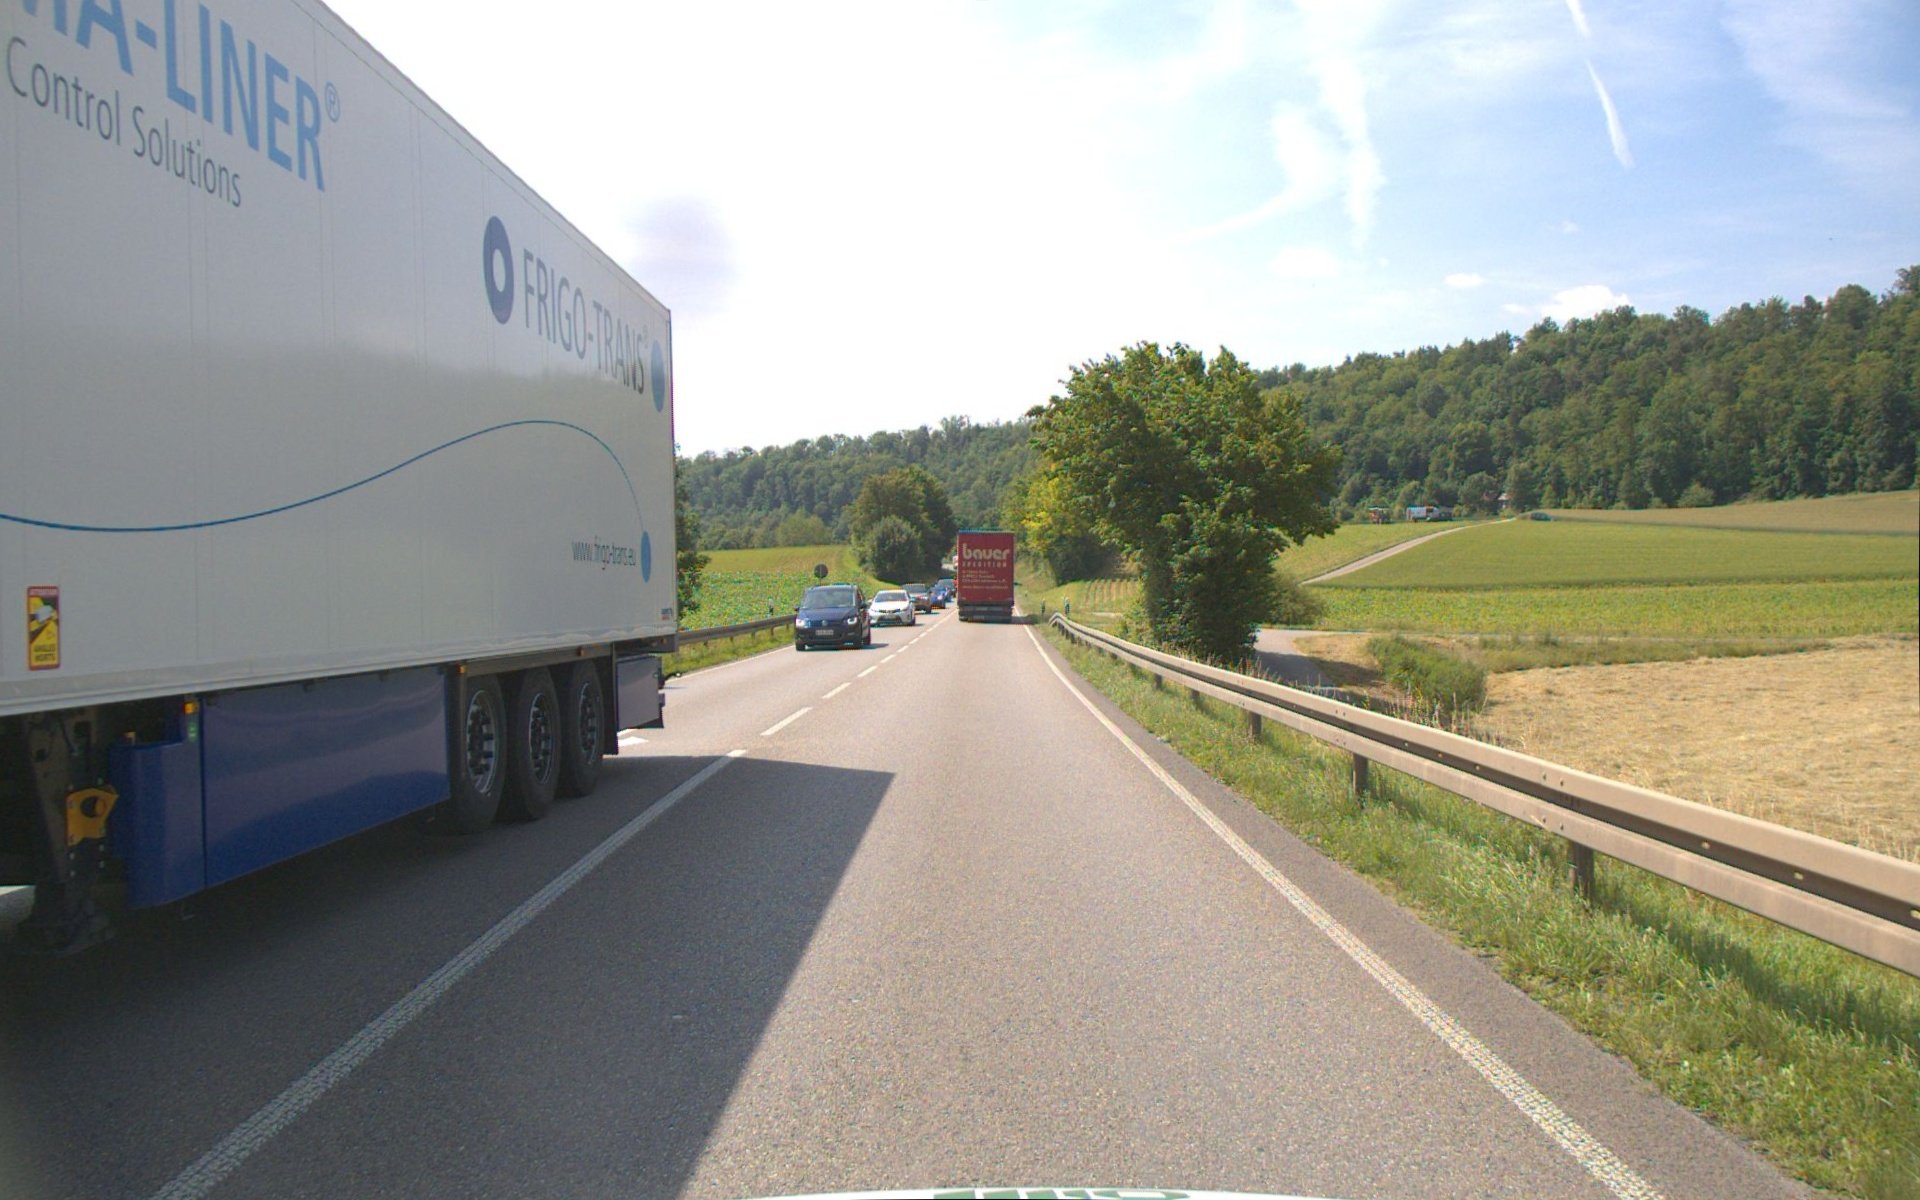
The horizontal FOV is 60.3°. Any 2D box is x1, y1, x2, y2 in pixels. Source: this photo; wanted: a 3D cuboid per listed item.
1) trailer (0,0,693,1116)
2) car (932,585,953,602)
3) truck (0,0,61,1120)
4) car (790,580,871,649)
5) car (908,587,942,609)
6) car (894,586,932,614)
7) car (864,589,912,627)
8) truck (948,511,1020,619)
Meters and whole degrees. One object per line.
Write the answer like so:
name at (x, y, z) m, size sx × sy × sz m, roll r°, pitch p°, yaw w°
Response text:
trailer at (-3.922, -0.622, 8.806) m, size 2.455 × 4.191 × 13.900 m, roll -2°, pitch 0°, yaw 1°
car at (-1.548, -0.604, 150.336) m, size 1.770 × 1.512 × 4.001 m, roll -1°, pitch 1°, yaw 1°
truck at (-3.997, -0.607, 1.892) m, size 2.478 × 4.191 × 6.021 m, roll -2°, pitch 0°, yaw 1°
car at (-3.529, 0.367, 45.703) m, size 1.791 × 1.752 × 4.363 m, roll -2°, pitch 0°, yaw 0°
car at (-2.238, -0.149, 106.834) m, size 1.952 × 1.365 × 4.001 m, roll -1°, pitch 1°, yaw 1°
car at (-2.626, -0.017, 92.749) m, size 1.873 × 1.500 × 3.874 m, roll -1°, pitch 1°, yaw 1°
car at (-2.940, 0.305, 68.253) m, size 1.695 × 1.459 × 3.916 m, roll -3°, pitch 0°, yaw 1°
truck at (1.074, -1.615, 79.069) m, size 3.107 × 4.706 × 13.544 m, roll 0°, pitch 1°, yaw 0°
